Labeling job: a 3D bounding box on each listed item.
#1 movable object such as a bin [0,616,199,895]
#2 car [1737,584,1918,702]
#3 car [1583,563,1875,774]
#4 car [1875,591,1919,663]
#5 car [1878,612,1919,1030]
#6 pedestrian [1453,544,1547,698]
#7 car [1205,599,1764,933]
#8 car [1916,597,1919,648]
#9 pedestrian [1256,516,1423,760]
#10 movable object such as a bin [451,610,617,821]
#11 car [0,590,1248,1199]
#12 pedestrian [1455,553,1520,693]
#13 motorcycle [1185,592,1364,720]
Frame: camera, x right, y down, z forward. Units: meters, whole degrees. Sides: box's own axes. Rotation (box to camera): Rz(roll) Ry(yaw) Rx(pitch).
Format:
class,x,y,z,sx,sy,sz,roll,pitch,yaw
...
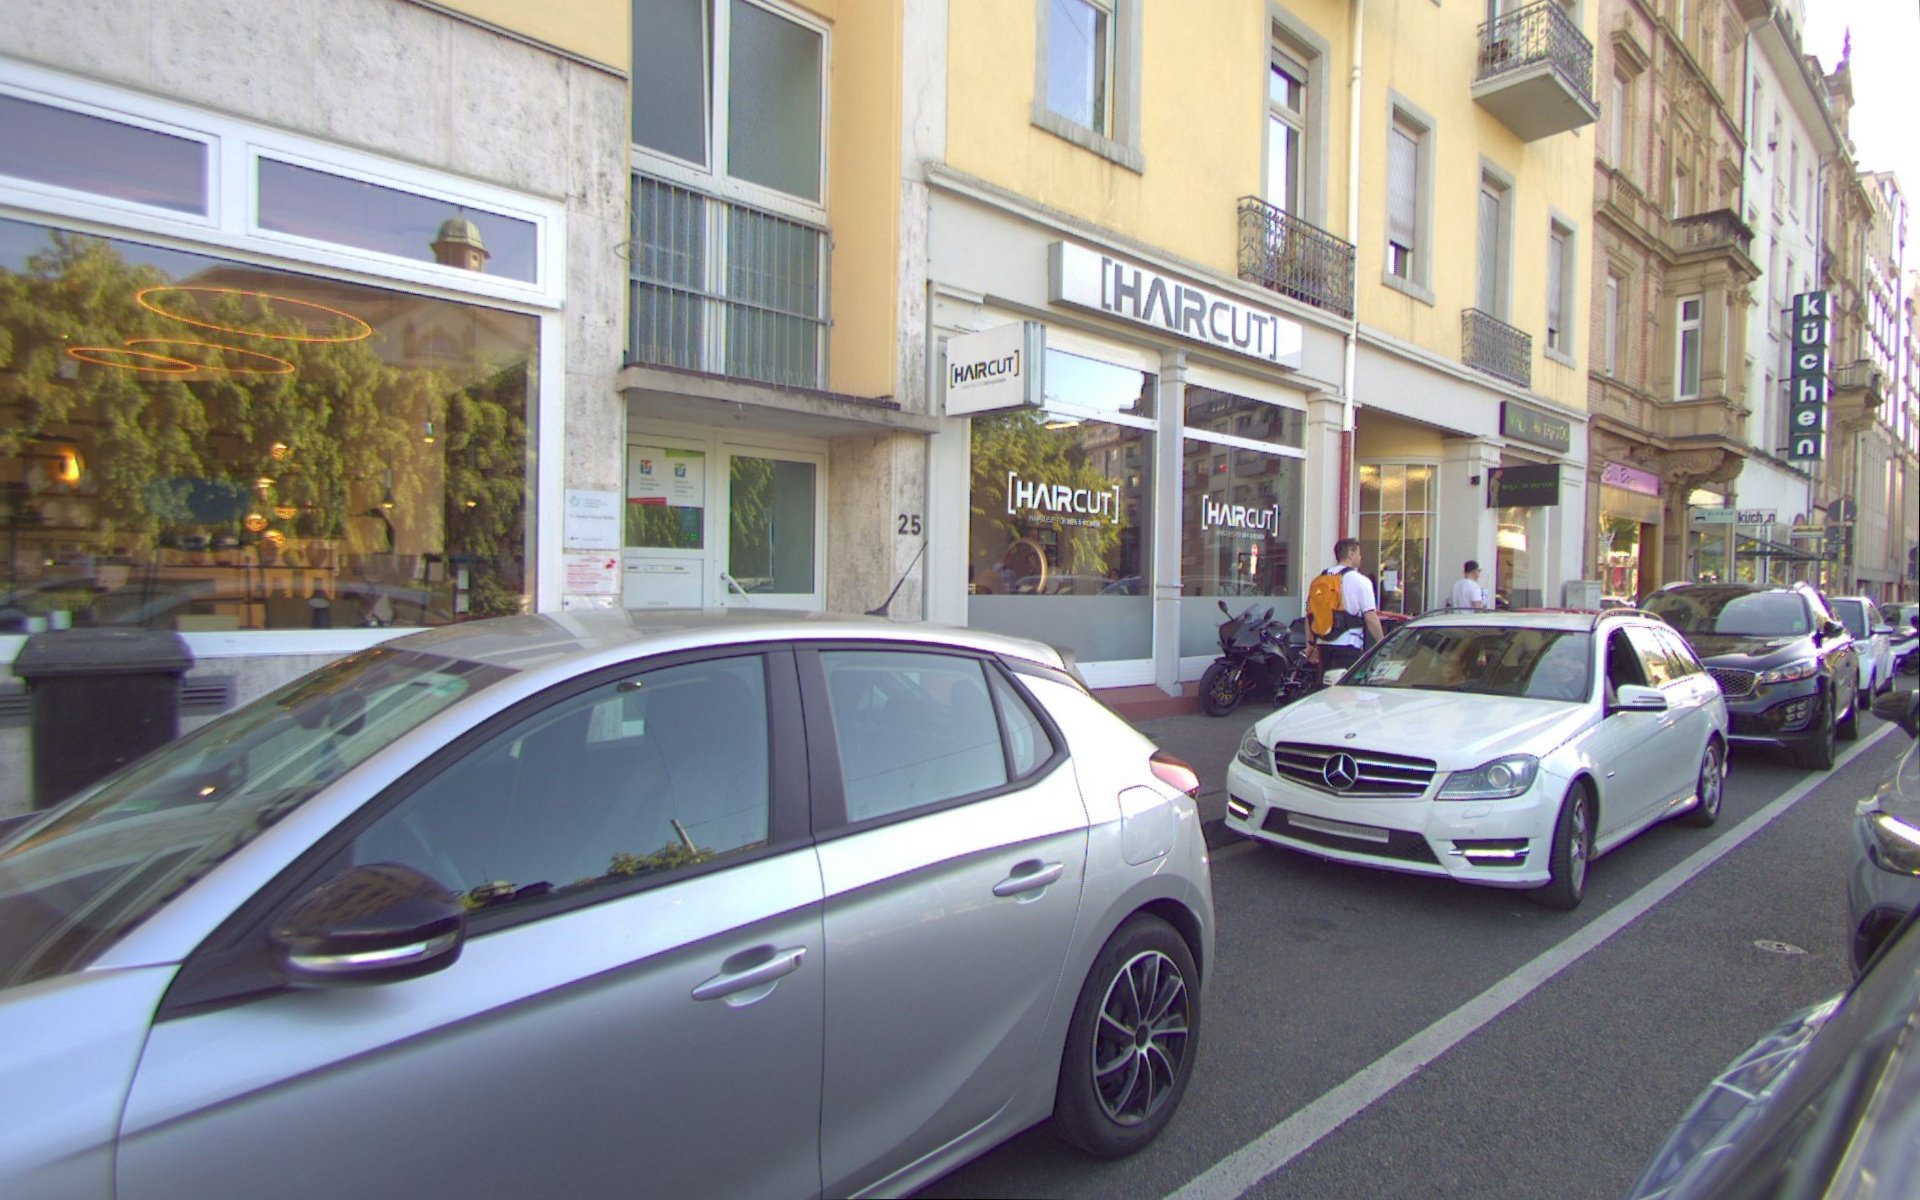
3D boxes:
class,x,y,z,sx,sy,sz,roll,pitch,yaw
movable object such as a bin,-3.682,0.599,4.321,0.639,1.036,0.737,0,0,-41
car,12.763,0.546,14.851,2.945,1.542,1.582,-1,0,-41
car,8.001,0.530,10.364,4.338,1.711,1.802,-1,0,-45
car,21.890,0.565,22.807,3.736,1.509,1.691,-1,0,-45
car,5.390,0.750,4.374,4.397,1.385,1.767,-1,1,-43
pedestrian,6.829,0.254,12.841,0.961,1.900,0.532,0,0,18
car,3.525,0.708,6.386,4.301,1.389,1.671,-1,0,-41
car,26.601,0.573,26.926,3.306,1.334,1.459,-1,0,-42
pedestrian,3.098,0.262,8.286,0.964,1.844,0.811,0,4,-37
movable object such as a bin,-2.335,0.581,5.535,0.639,1.036,0.737,0,0,-41
car,-1.014,0.715,2.305,3.625,1.455,1.585,-1,0,-43
pedestrian,7.232,0.300,13.872,0.627,1.859,0.760,0,0,41
motorcycle,3.293,0.523,10.502,2.073,1.144,0.735,-1,5,-41
